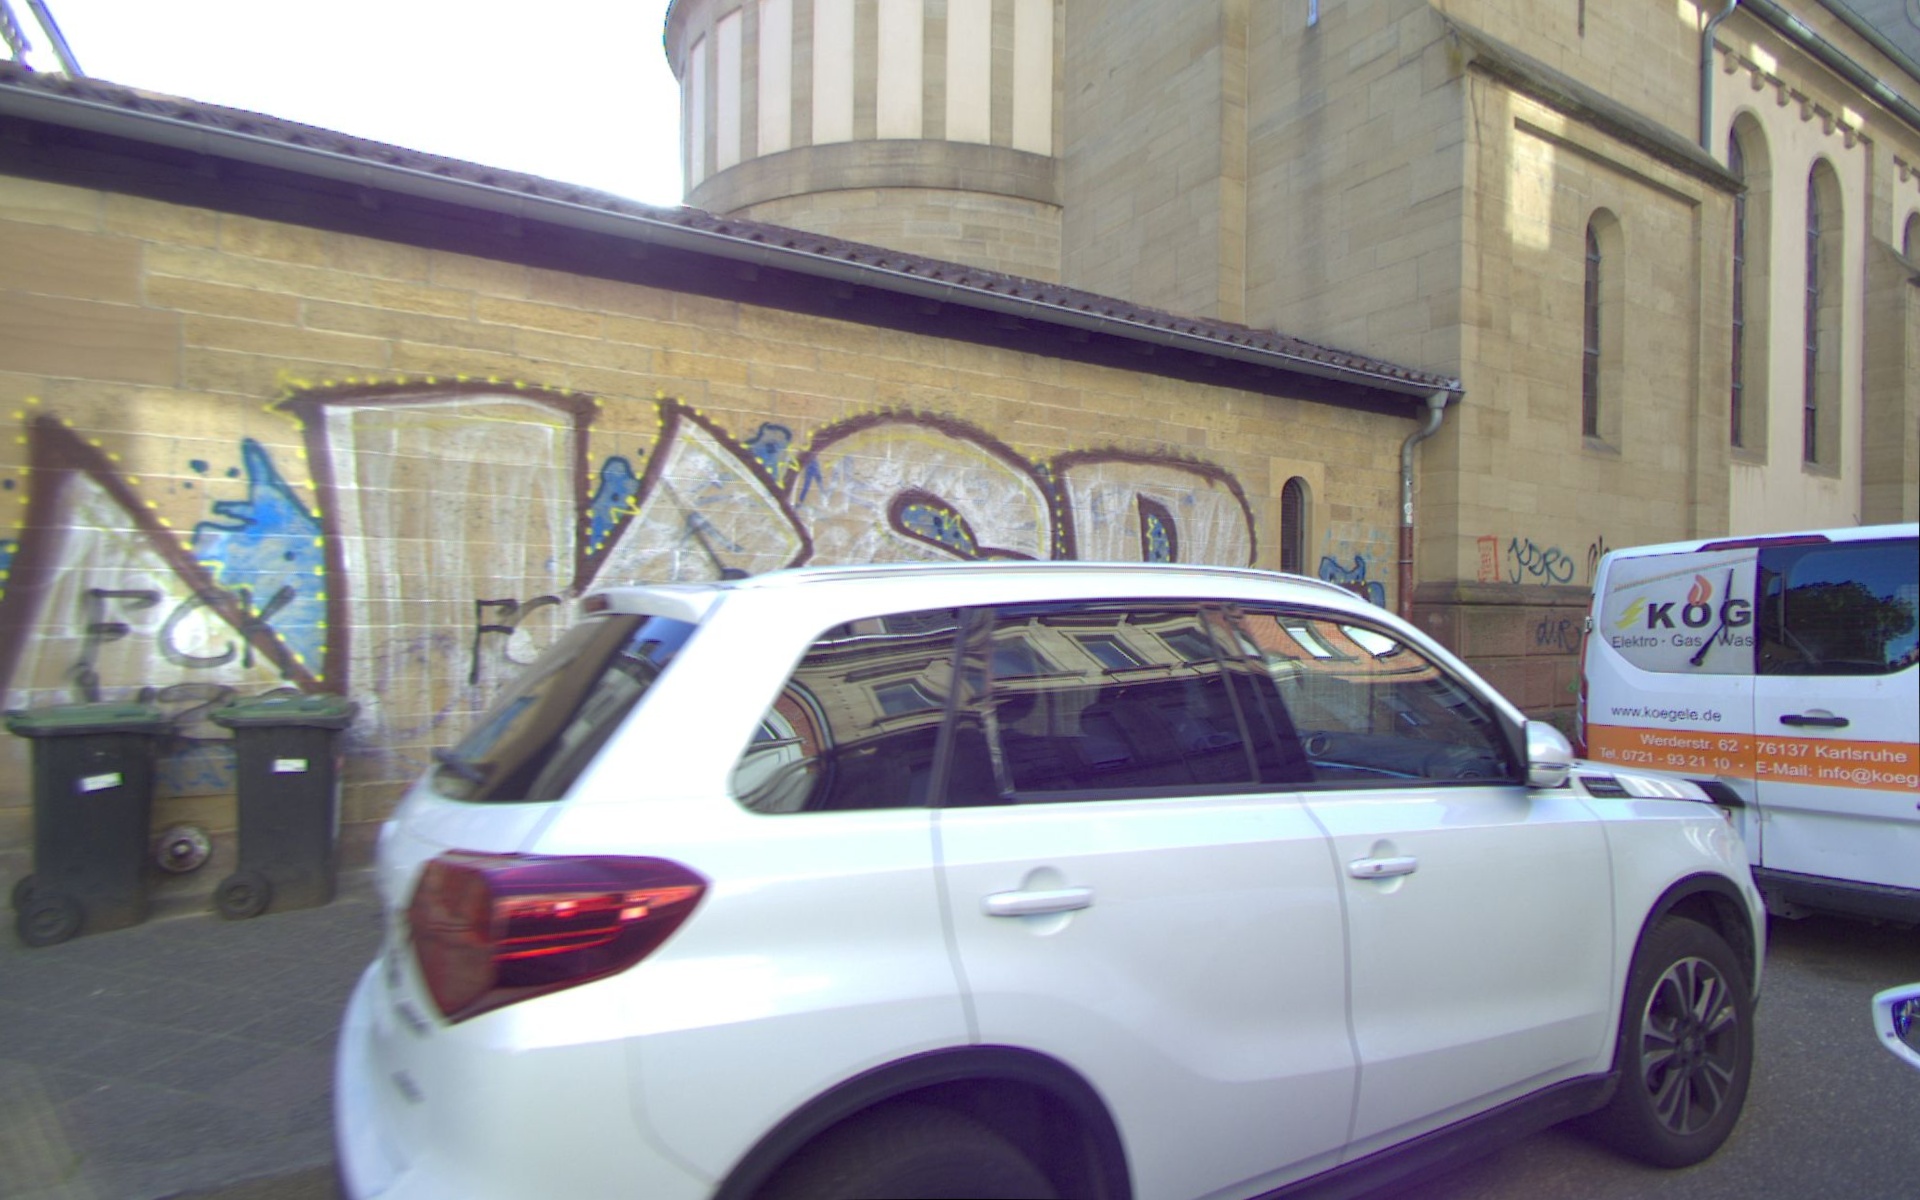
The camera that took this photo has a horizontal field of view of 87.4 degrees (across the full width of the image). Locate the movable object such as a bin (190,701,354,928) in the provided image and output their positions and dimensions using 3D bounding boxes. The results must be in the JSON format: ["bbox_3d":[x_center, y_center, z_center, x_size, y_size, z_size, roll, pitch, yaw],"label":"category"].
[{"bbox_3d":[-3.095,0.933,4.559,0.564,0.887,0.479,1,0,-30],"label":"movable object such as a bin"}]

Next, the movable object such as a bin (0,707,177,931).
[{"bbox_3d":[-3.707,0.892,4.225,0.583,0.818,0.451,1,0,-30],"label":"movable object such as a bin"}]

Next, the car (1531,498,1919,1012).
[{"bbox_3d":[5.369,0.658,5.555,4.557,1.983,1.855,1,-2,-31],"label":"car"}]

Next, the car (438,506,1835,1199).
[{"bbox_3d":[0.668,0.722,2.944,3.823,1.607,1.734,1,0,-30],"label":"car"}]
